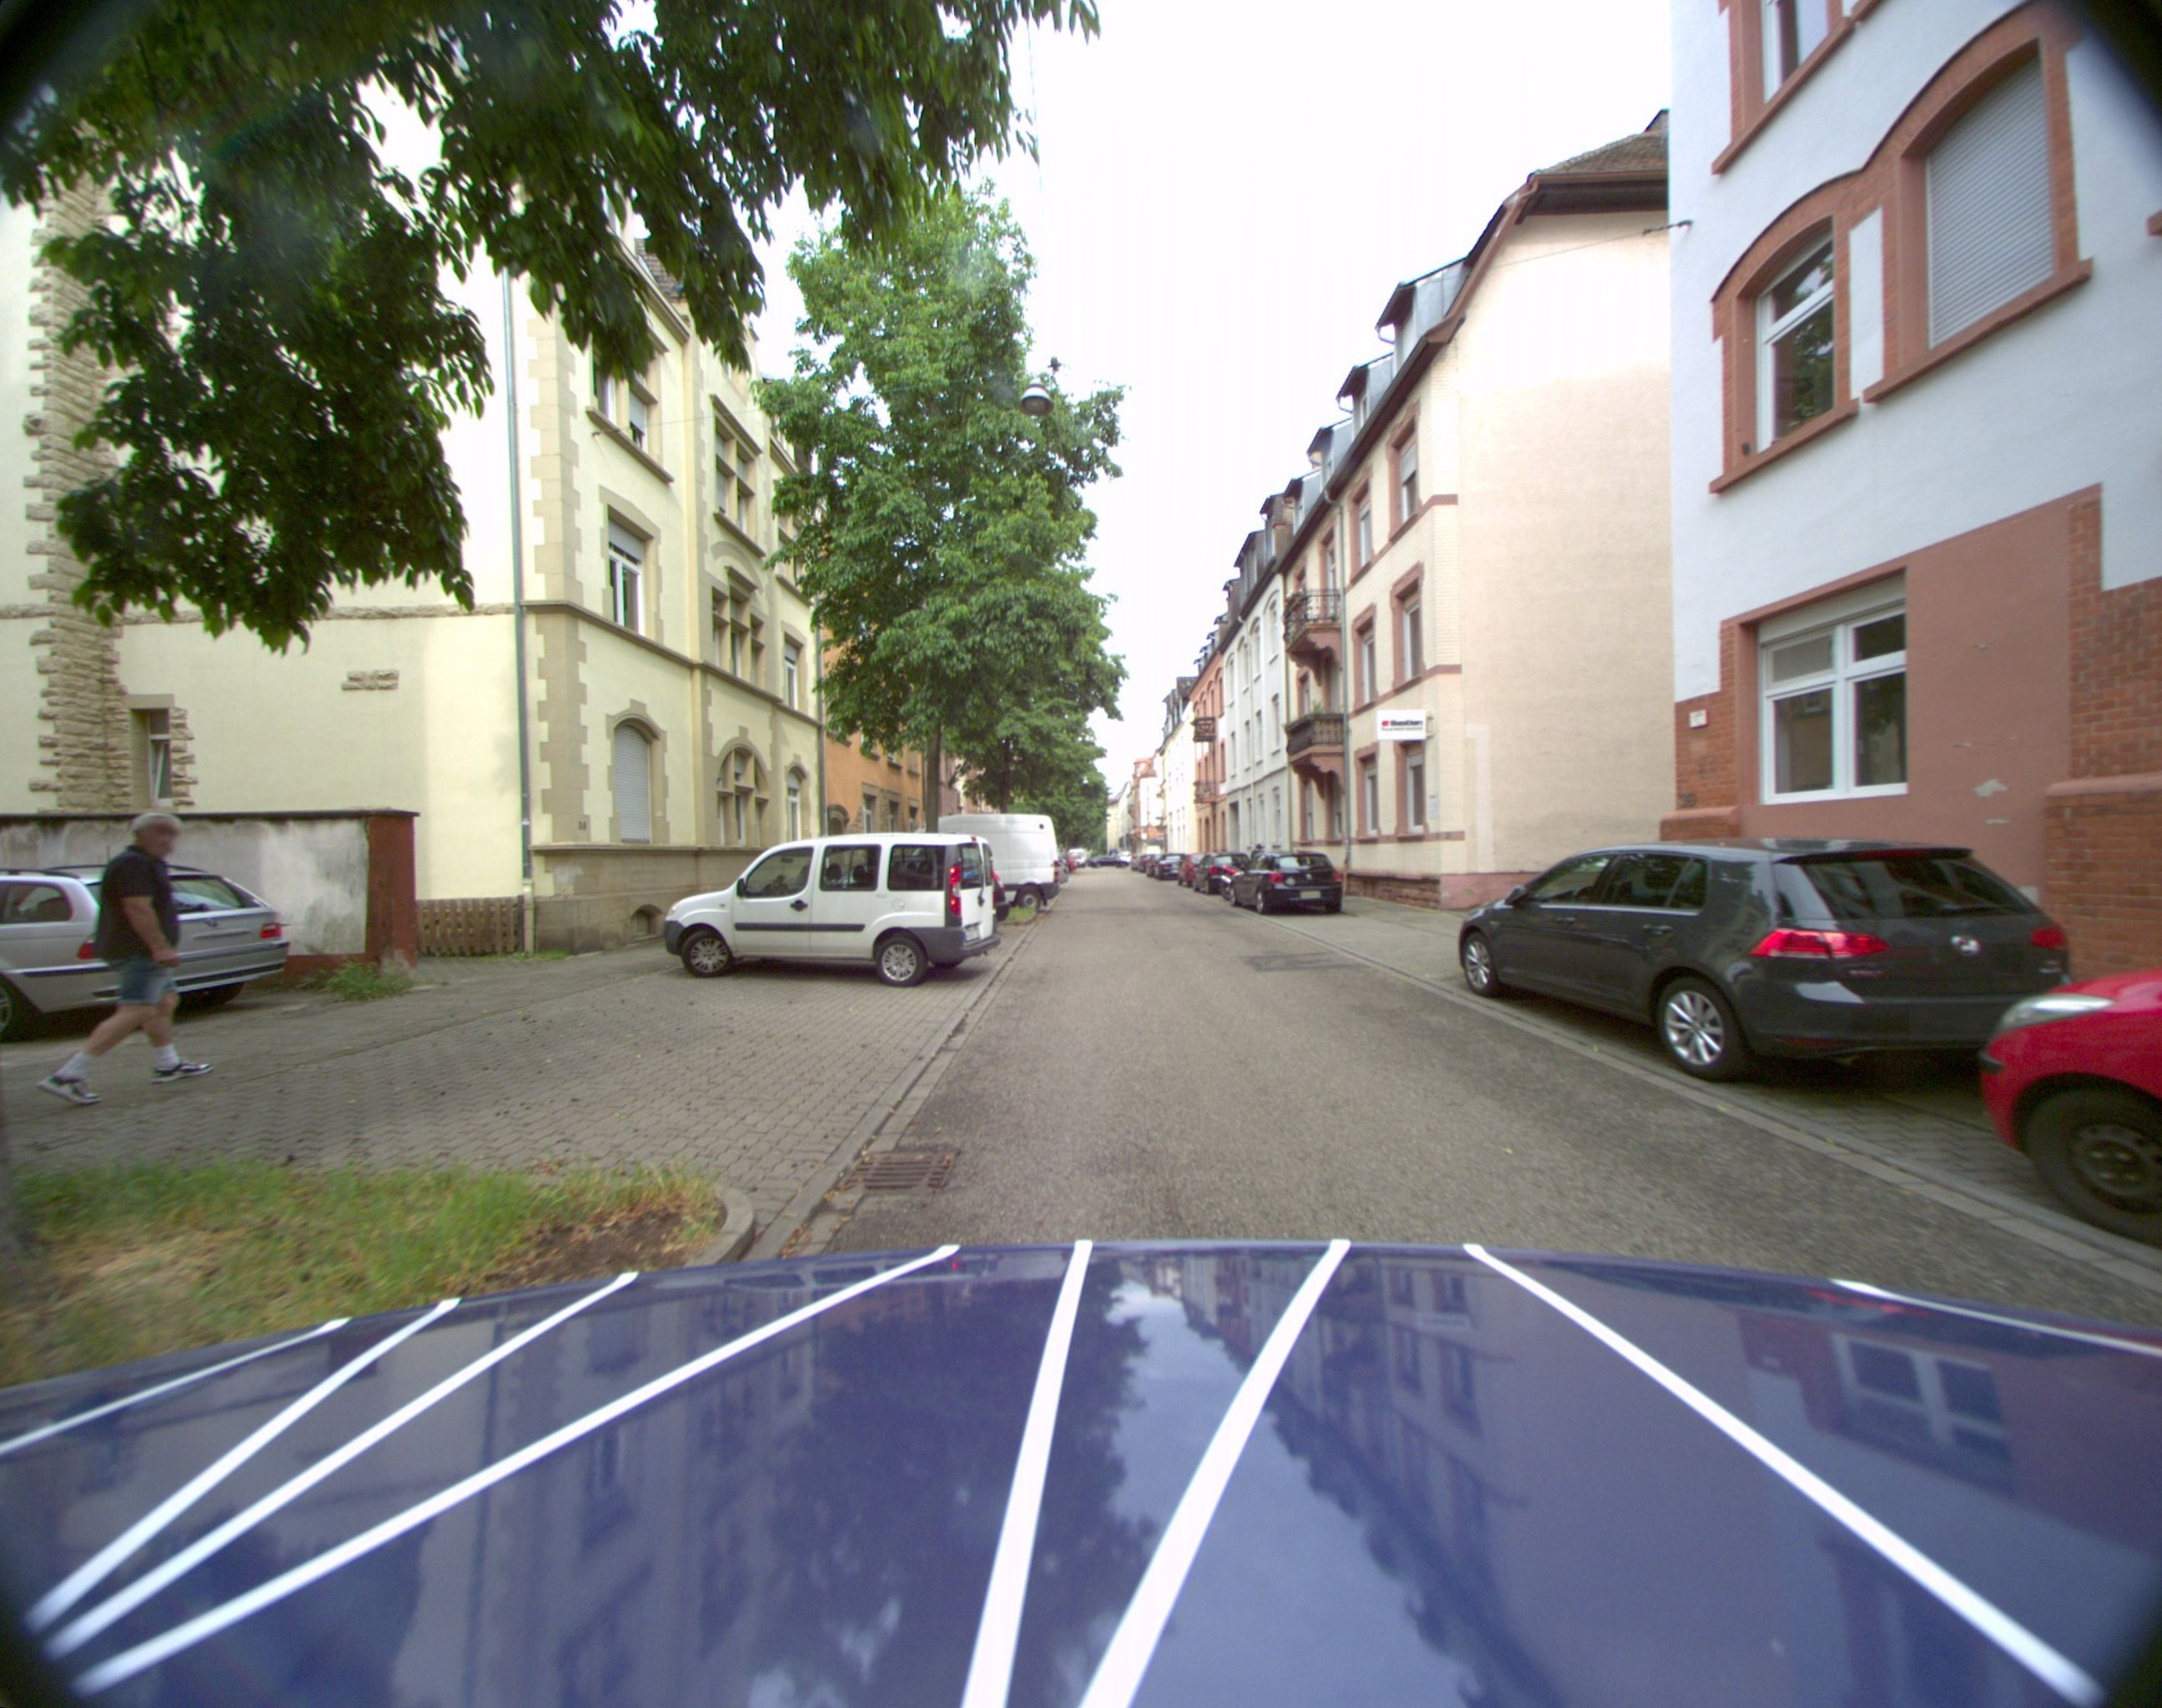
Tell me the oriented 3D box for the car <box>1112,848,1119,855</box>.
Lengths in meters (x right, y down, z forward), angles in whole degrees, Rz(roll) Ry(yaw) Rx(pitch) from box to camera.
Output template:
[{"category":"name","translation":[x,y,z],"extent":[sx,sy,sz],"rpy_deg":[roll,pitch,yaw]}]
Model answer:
[{"category":"car","translation":[7.352,-0.594,162.194],"extent":[1.457,1.401,3.811],"rpy_deg":[1,1,2]}]

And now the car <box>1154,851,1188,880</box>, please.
[{"category":"car","translation":[4.828,0.579,40.941],"extent":[1.457,1.402,3.041],"rpy_deg":[-3,1,2]}]

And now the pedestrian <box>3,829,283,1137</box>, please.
[{"category":"pedestrian","translation":[-5.956,0.764,4.886],"extent":[0.703,1.801,0.817],"rpy_deg":[-2,1,2]}]

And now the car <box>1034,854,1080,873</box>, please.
[{"category":"car","translation":[-2.065,0.795,64.482],"extent":[3.607,1.458,1.628],"rpy_deg":[-2,0,-12]}]

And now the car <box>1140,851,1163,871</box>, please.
[{"category":"car","translation":[5.333,0.482,57.513],"extent":[1.457,1.401,3.811],"rpy_deg":[-3,0,2]}]

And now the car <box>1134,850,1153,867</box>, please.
[{"category":"car","translation":[5.492,0.379,67.380],"extent":[1.457,1.401,3.811],"rpy_deg":[-3,0,2]}]

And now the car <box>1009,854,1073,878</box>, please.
[{"category":"car","translation":[-2.799,0.803,52.541],"extent":[4.150,1.489,1.838],"rpy_deg":[-2,0,-12]}]

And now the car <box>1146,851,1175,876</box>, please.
[{"category":"car","translation":[4.902,0.571,47.173],"extent":[1.457,1.401,3.811],"rpy_deg":[-3,0,2]}]

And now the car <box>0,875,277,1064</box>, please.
[{"category":"car","translation":[-10.107,0.971,6.838],"extent":[3.997,1.445,1.609],"rpy_deg":[-1,0,0]}]

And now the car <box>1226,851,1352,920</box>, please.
[{"category":"car","translation":[4.728,0.665,17.881],"extent":[1.904,1.382,4.000],"rpy_deg":[-2,0,1]}]

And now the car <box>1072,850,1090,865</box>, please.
[{"category":"car","translation":[0.028,0.433,91.153],"extent":[1.998,1.739,4.001],"rpy_deg":[-2,0,3]}]

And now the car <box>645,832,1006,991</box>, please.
[{"category":"car","translation":[-3.146,0.680,9.755],"extent":[3.994,1.801,1.721],"rpy_deg":[-1,1,8]}]

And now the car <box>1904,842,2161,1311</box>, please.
[{"category":"car","translation":[4.275,0.723,1.481],"extent":[1.469,1.521,3.568],"rpy_deg":[-3,0,1]}]

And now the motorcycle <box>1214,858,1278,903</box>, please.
[{"category":"motorcycle","translation":[4.724,0.759,21.763],"extent":[1.710,1.218,0.487],"rpy_deg":[-2,1,19]}]

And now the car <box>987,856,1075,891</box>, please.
[{"category":"car","translation":[-2.285,0.871,34.944],"extent":[3.612,1.458,1.626],"rpy_deg":[-2,0,-30]}]

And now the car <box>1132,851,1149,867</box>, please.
[{"category":"car","translation":[5.638,0.467,72.065],"extent":[1.457,1.401,3.811],"rpy_deg":[-3,0,2]}]

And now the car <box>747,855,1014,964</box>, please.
[{"category":"car","translation":[-3.534,0.867,13.550],"extent":[4.284,1.608,1.758],"rpy_deg":[-1,0,-28]}]

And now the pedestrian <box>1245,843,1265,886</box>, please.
[{"category":"pedestrian","translation":[6.597,0.393,28.818],"extent":[0.577,1.599,0.544],"rpy_deg":[-2,1,1]}]

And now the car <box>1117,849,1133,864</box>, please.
[{"category":"car","translation":[6.192,0.333,106.518],"extent":[2.052,2.071,3.811],"rpy_deg":[-3,0,2]}]

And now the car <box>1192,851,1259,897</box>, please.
[{"category":"car","translation":[4.894,0.635,26.196],"extent":[1.659,1.375,3.472],"rpy_deg":[-3,0,1]}]

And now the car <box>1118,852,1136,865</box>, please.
[{"category":"car","translation":[5.734,0.522,95.254],"extent":[2.082,1.446,4.253],"rpy_deg":[-3,0,2]}]

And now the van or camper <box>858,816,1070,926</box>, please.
[{"category":"van or camper","translation":[-3.029,0.364,20.031],"extent":[5.077,2.576,2.069],"rpy_deg":[-1,1,-29]}]

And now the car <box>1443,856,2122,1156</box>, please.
[{"category":"car","translation":[4.370,0.752,5.684],"extent":[1.469,1.408,3.918],"rpy_deg":[-3,0,1]}]

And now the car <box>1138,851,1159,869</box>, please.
[{"category":"car","translation":[5.522,0.494,62.624],"extent":[1.457,1.401,3.811],"rpy_deg":[-3,0,2]}]

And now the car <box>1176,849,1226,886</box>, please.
[{"category":"car","translation":[5.030,0.543,32.235],"extent":[1.610,1.463,3.342],"rpy_deg":[-1,0,0]}]

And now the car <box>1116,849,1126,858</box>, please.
[{"category":"car","translation":[6.479,-0.115,122.947],"extent":[1.457,1.401,3.811],"rpy_deg":[-3,0,2]}]

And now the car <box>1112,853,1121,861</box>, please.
[{"category":"car","translation":[6.725,0.598,143.949],"extent":[1.457,1.401,3.811],"rpy_deg":[-3,0,2]}]
